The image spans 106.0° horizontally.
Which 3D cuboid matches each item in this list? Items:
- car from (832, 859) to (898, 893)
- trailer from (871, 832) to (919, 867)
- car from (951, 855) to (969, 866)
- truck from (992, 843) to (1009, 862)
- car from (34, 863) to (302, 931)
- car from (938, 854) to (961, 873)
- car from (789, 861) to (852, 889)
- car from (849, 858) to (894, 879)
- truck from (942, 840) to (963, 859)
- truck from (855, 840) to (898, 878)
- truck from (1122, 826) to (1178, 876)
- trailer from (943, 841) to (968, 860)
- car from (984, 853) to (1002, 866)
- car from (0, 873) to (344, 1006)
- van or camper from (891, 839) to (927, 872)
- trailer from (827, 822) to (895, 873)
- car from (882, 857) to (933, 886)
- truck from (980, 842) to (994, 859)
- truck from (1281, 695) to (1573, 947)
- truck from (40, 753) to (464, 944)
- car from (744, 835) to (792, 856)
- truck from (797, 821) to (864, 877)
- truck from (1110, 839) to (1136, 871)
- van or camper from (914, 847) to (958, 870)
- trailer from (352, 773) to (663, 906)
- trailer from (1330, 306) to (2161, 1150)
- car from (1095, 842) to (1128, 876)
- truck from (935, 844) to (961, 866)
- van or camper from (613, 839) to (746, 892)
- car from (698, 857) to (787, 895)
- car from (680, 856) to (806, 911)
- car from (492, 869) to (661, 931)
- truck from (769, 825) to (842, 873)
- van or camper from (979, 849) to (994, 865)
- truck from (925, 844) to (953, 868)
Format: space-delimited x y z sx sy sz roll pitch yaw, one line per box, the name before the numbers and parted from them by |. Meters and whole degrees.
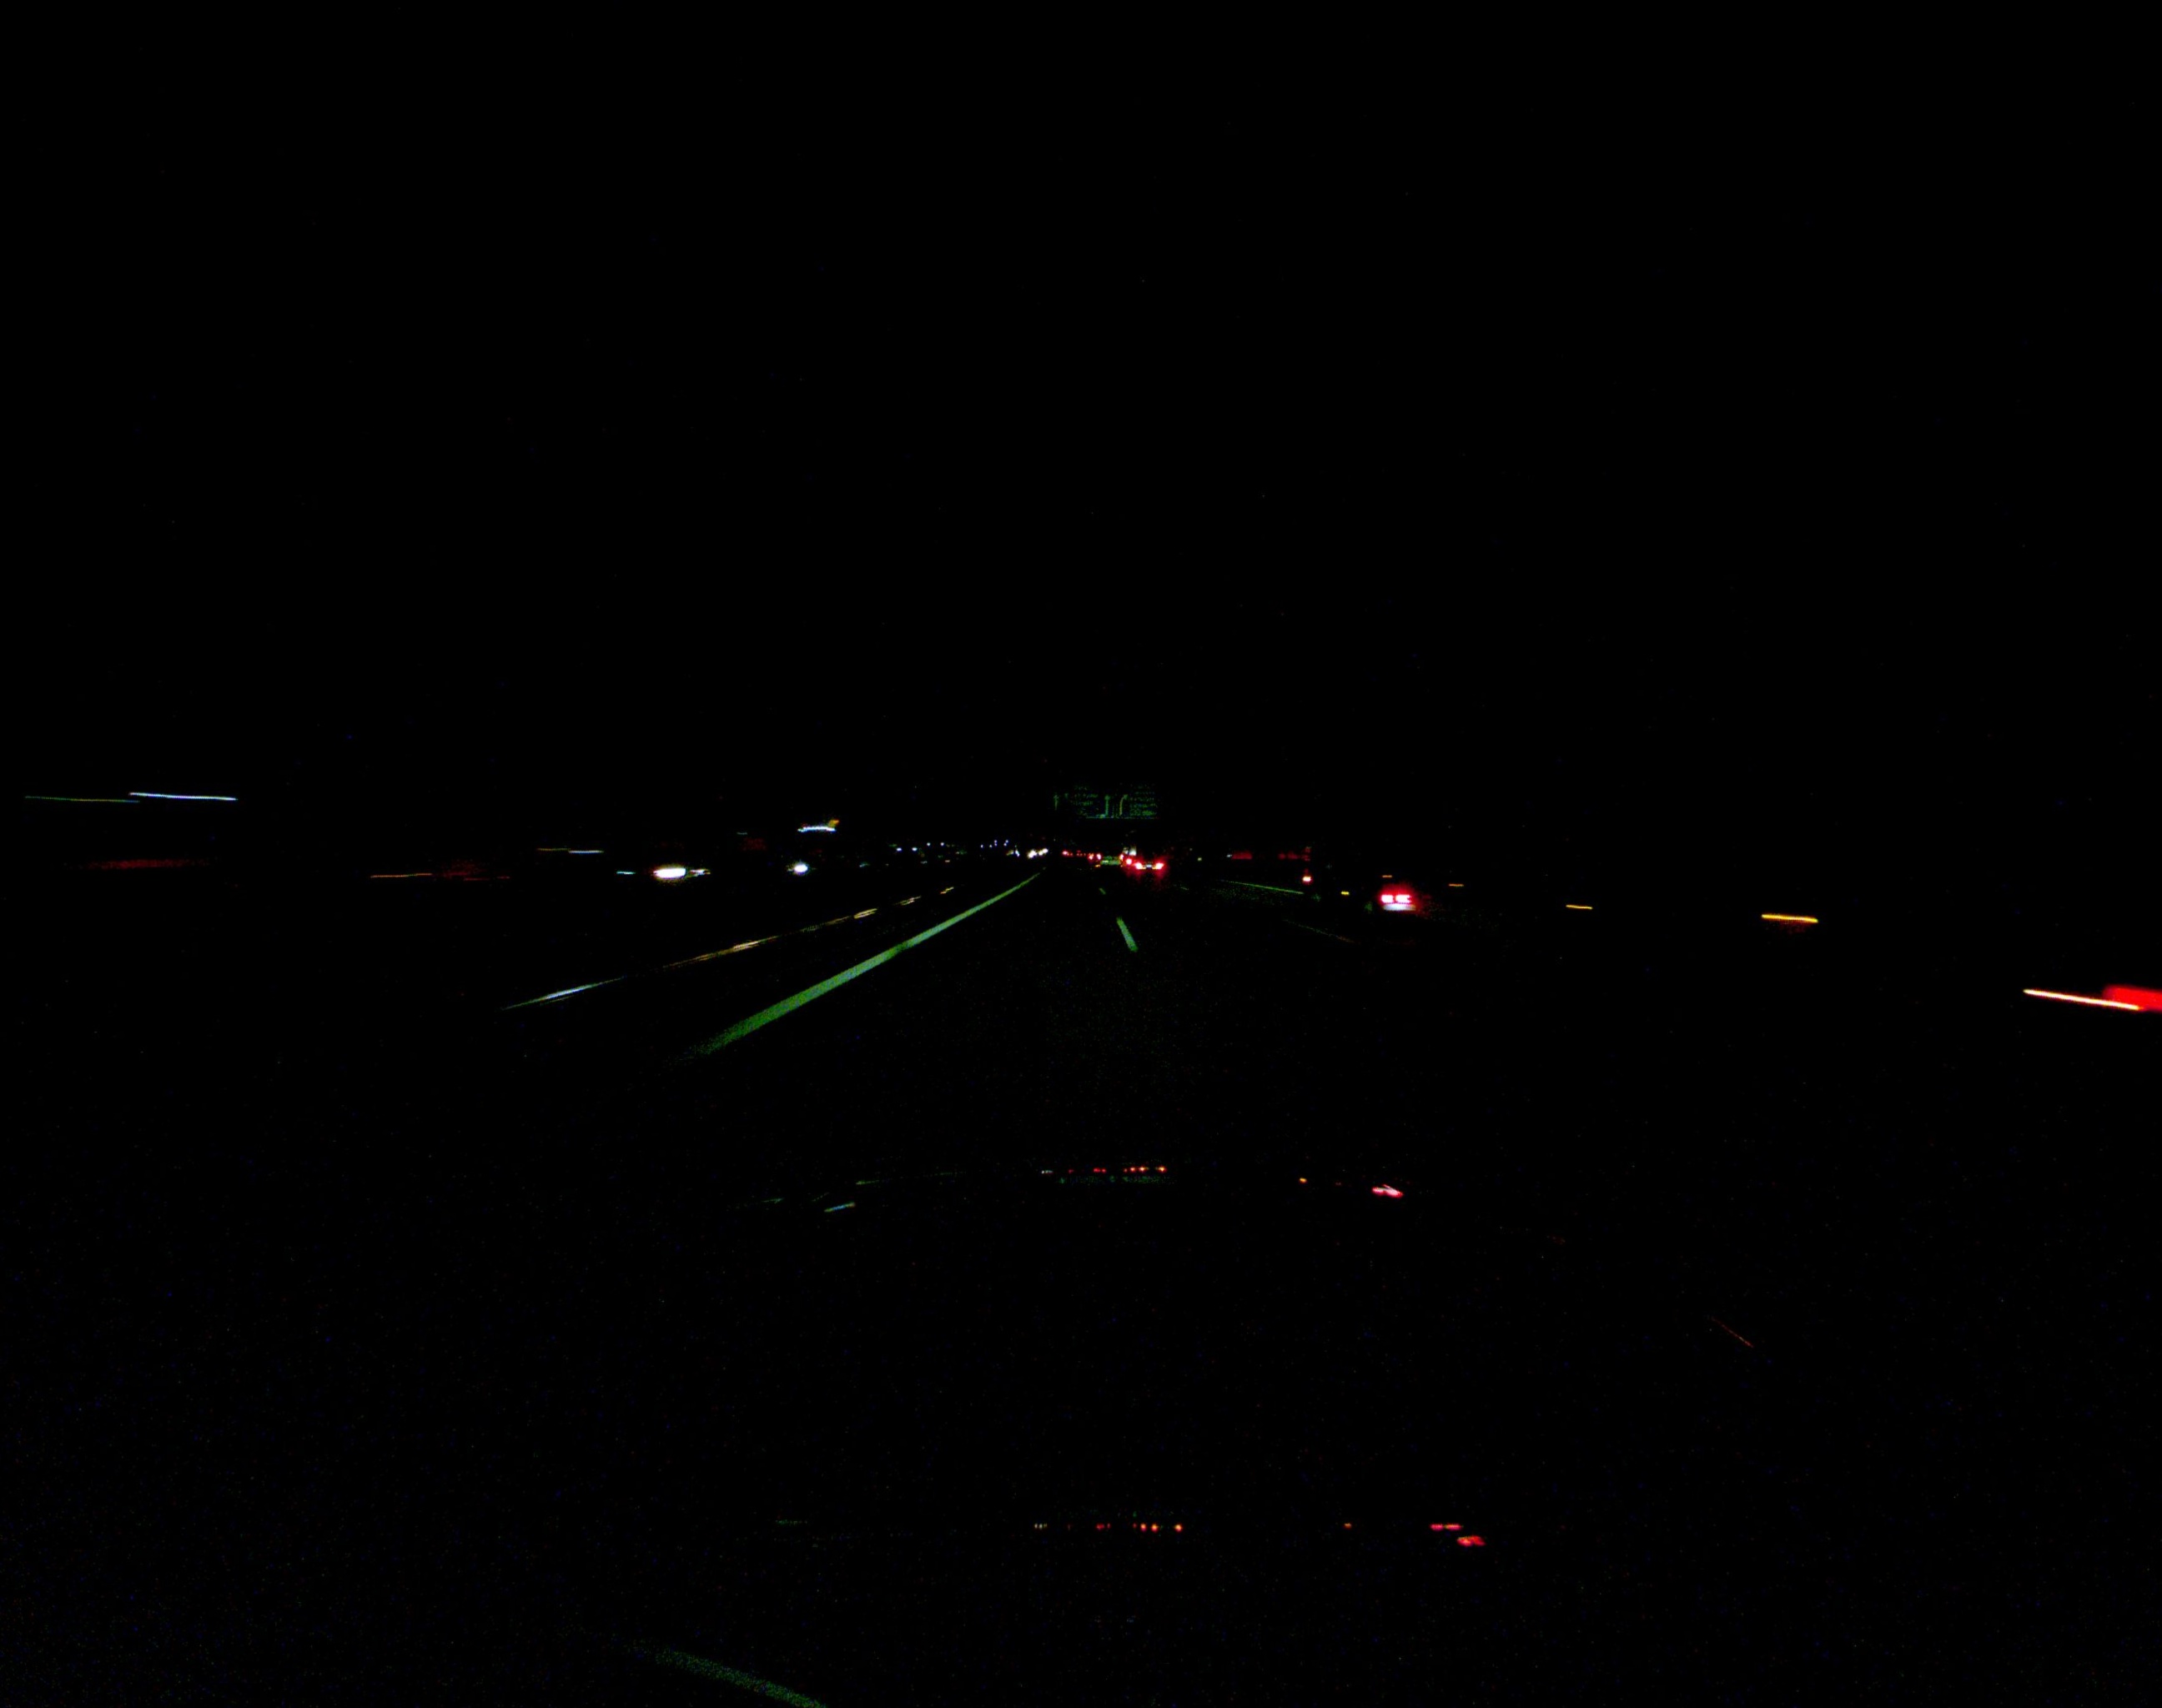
car | -9.066 0.891 34.501 1.564 1.354 4.002 0 0 2
trailer | -21.326 -0.461 94.337 2.875 3.675 13.121 0 0 -2
car | -14.601 0.785 98.531 1.565 1.354 3.999 0 0 0
truck | -16.266 -0.295 164.651 2.867 3.674 6.773 2 -1 -2
car | -20.611 0.897 18.673 1.564 1.354 4.001 0 0 1
car | -14.248 1.055 88.476 1.989 2.014 3.995 2 -1 -3
car | -13.403 1.058 42.213 1.790 1.354 4.240 0 0 1
car | -13.989 0.937 54.650 1.790 1.354 4.240 0 0 1
truck | -24.041 -0.815 152.196 2.952 3.442 6.357 1 0 -2
truck | -21.023 0.506 84.147 2.875 3.675 7.258 0 0 -2
truck | 7.008 -0.234 87.167 3.903 4.627 21.008 -1 0 -1
trailer | -24.220 -0.619 157.686 2.952 3.442 13.427 1 0 -2
car | -9.358 0.591 86.603 1.566 1.354 3.998 0 0 -1
car | -12.241 0.957 10.565 1.564 1.354 4.003 0 0 3
van or camper | -17.951 0.190 85.357 2.426 3.272 7.389 0 0 -1
trailer | -16.888 -0.430 63.451 2.387 3.627 11.173 1 -1 -1
car | -9.215 0.883 43.636 1.651 1.471 4.003 0 0 3
truck | -20.786 -0.776 180.618 2.870 3.673 6.040 1 0 -5
truck | 6.624 -0.545 17.163 2.853 4.077 7.509 -2 0 0
truck | -16.520 -0.047 16.979 2.634 3.220 5.796 2 -1 1
car | -20.511 -0.534 53.517 1.564 1.354 4.001 0 0 1
truck | -16.809 -0.313 55.070 2.396 3.514 6.721 1 0 0
truck | 6.378 0.135 126.261 3.333 4.476 13.910 1 0 1
van or camper | -9.109 0.264 51.484 1.814 1.354 5.351 0 0 0
trailer | -16.318 -0.274 24.384 2.596 3.176 9.005 2 -1 1
trailer | 6.637 -0.619 10.246 2.845 4.067 13.202 -2 0 0
car | 2.550 0.443 67.099 2.325 2.640 5.256 0 -1 6
truck | -18.849 0.190 115.852 2.549 2.986 7.447 0 -1 -2
van or camper | -16.714 0.451 34.539 2.182 2.013 7.634 0 0 -3
car | -12.849 0.794 31.188 1.564 1.354 4.003 0 0 3
car | -9.117 0.739 22.333 1.564 1.354 4.003 0 0 3
car | -12.521 1.089 20.553 1.563 1.354 4.004 0 0 4
truck | -22.604 -0.342 67.541 2.387 3.627 11.173 1 -1 -1
van or camper | -16.143 0.497 139.229 2.079 2.632 7.595 0 0 -3
truck | -18.706 0.291 107.343 2.549 2.986 7.447 0 -1 -2
